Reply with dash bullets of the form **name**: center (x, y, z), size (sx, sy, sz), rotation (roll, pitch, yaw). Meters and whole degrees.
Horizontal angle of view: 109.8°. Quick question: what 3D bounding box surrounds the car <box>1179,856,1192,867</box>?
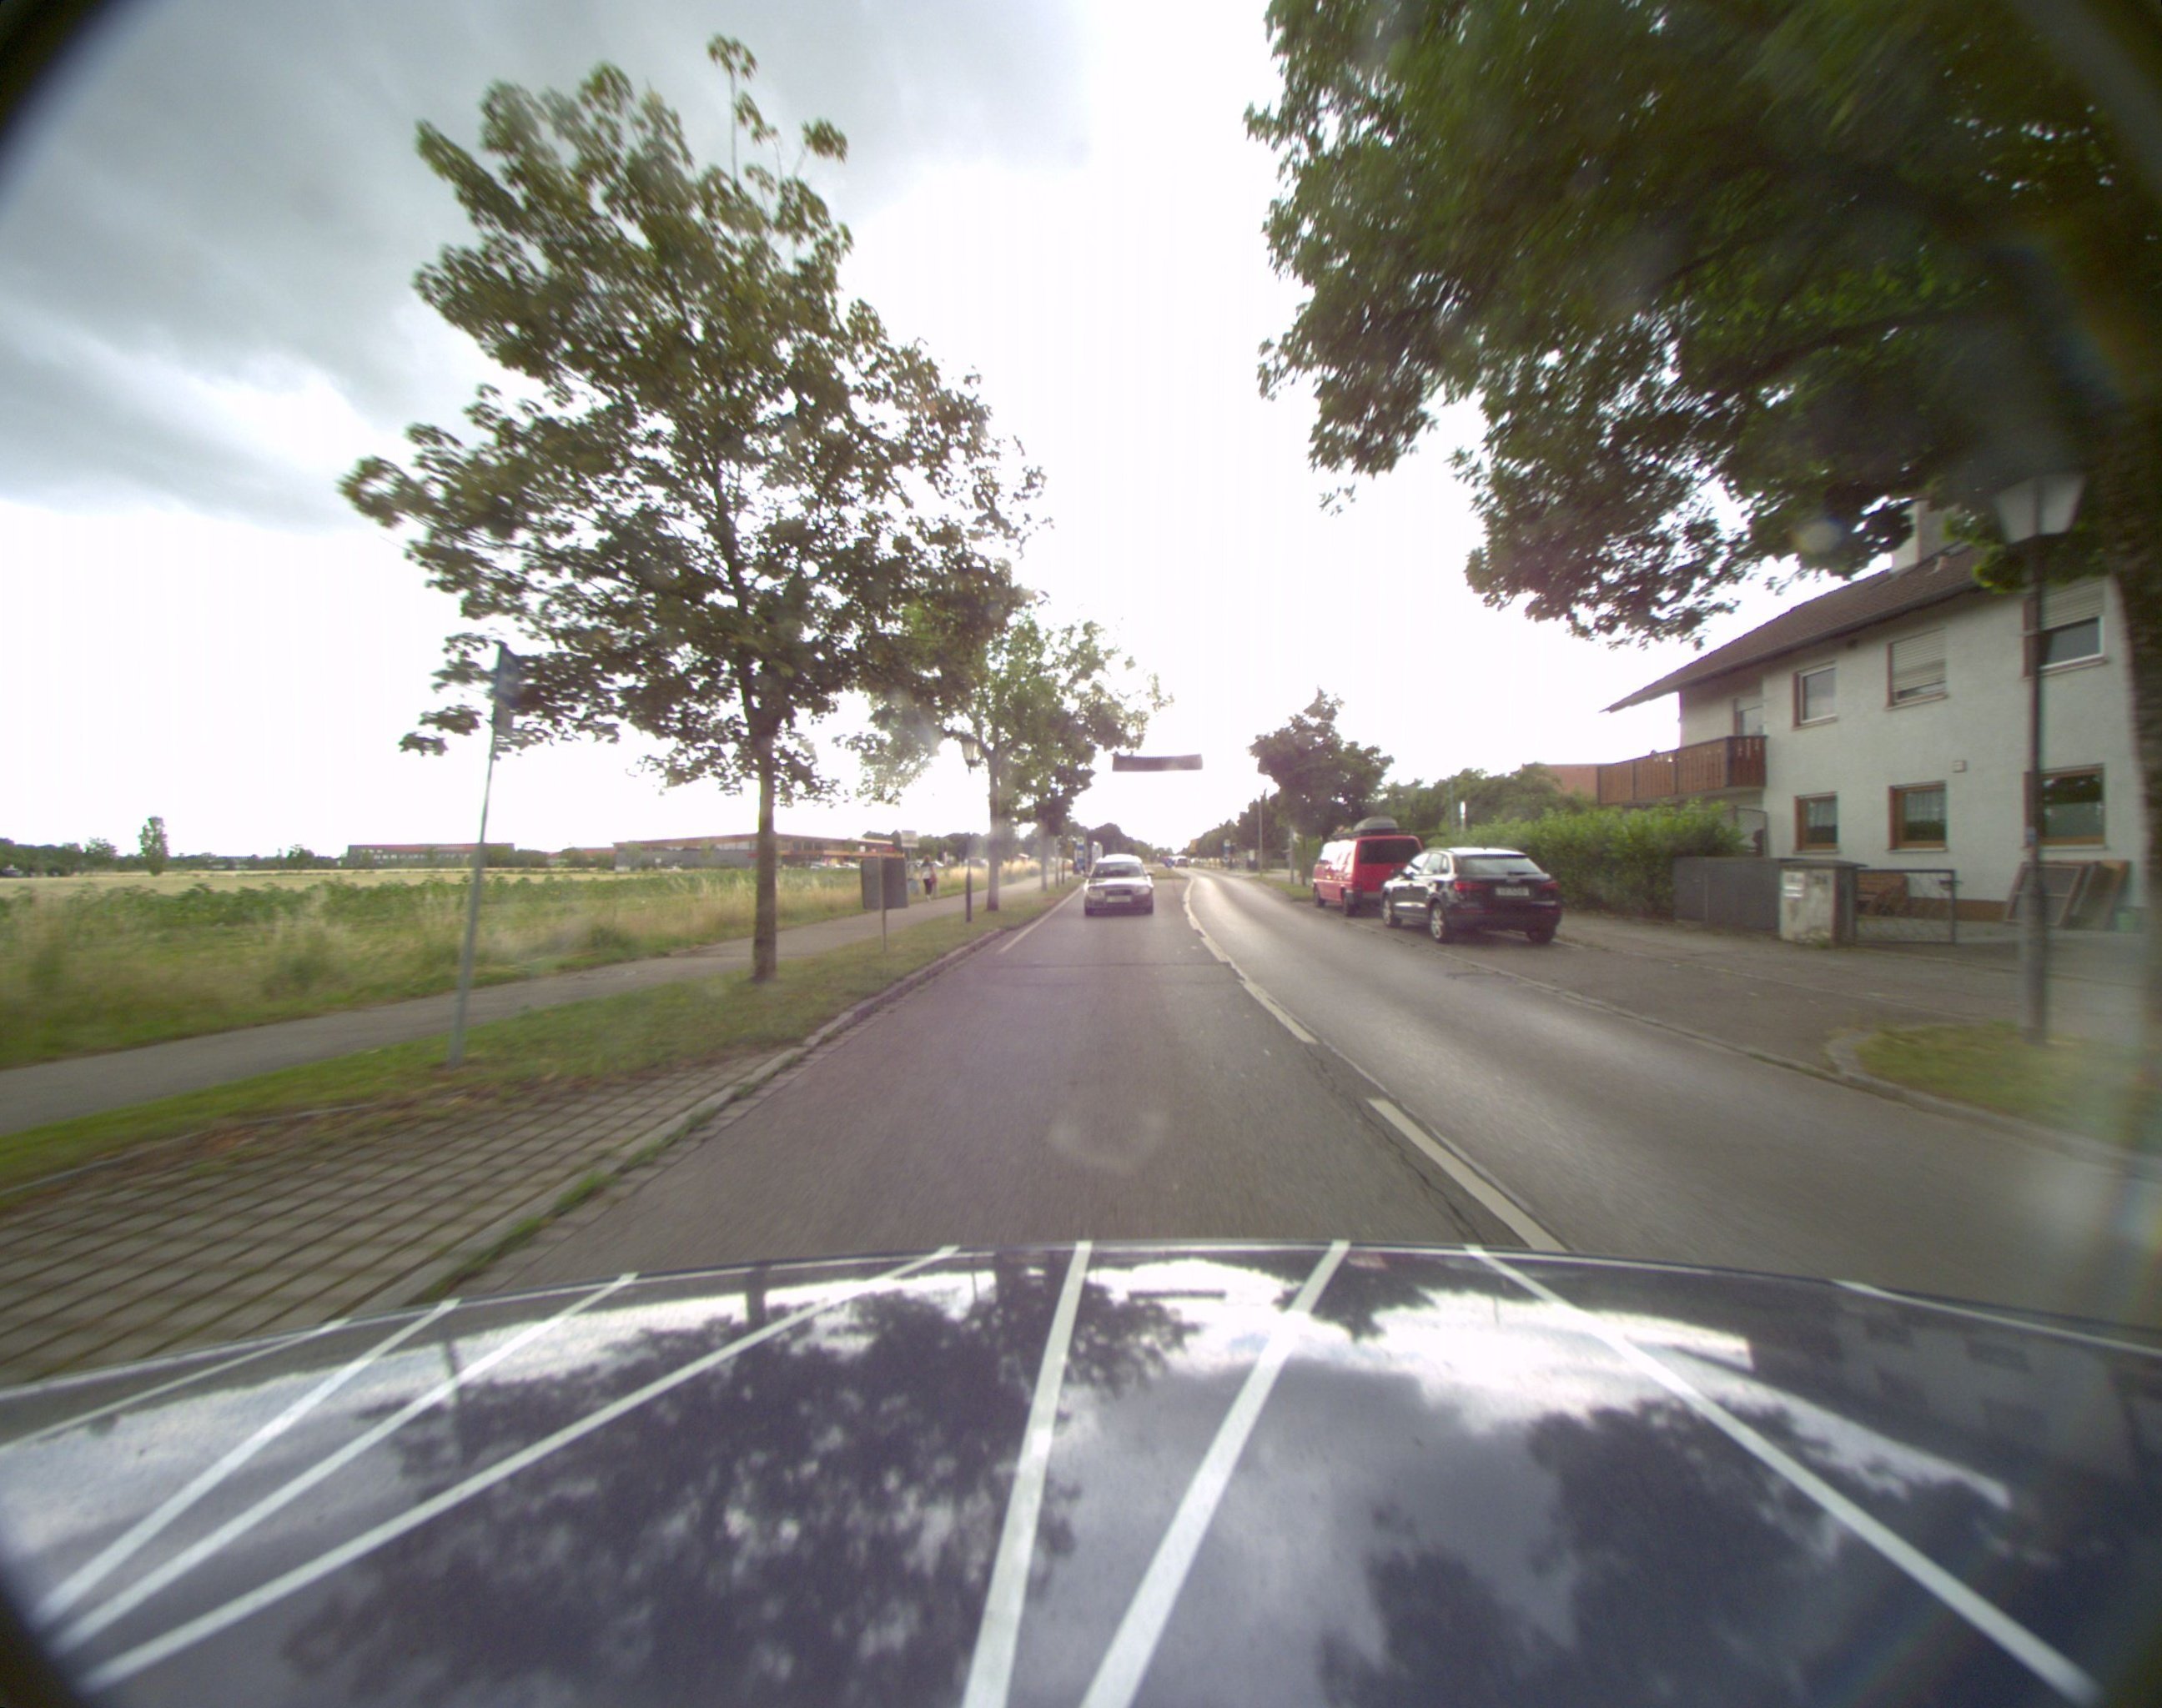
- **car**: center (14.816, 0.999, 108.214), size (1.710, 1.523, 3.509), rotation (1, 0, 7)

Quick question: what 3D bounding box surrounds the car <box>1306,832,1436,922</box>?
- **car**: center (7.302, 0.541, 19.719), size (1.834, 2.018, 5.048), rotation (-1, 0, 5)

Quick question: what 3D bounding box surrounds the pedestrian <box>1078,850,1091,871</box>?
- **pedestrian**: center (0.301, 0.555, 65.480), size (0.781, 1.782, 0.780), rotation (-3, 1, 26)

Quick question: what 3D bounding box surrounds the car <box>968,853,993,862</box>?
- **car**: center (-23.186, 0.810, 175.122), size (5.525, 2.002, 1.999), rotation (-2, 1, -2)

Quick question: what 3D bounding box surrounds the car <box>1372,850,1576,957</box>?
- **car**: center (6.836, 0.778, 13.773), size (1.775, 1.588, 4.240), rotation (-2, 0, 5)

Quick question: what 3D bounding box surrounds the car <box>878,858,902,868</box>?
- **car**: center (-42.569, 1.934, 169.325), size (4.856, 2.002, 1.999), rotation (-2, 1, -3)

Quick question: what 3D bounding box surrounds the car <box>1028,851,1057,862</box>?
- **car**: center (-7.536, 0.501, 150.007), size (5.525, 2.002, 1.999), rotation (-2, 1, -2)

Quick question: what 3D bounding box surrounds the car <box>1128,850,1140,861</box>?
- **car**: center (9.486, 0.295, 136.777), size (1.998, 2.002, 4.000), rotation (0, 0, 2)

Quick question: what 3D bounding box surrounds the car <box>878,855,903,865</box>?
- **car**: center (-40.857, 1.287, 162.928), size (4.856, 2.002, 1.999), rotation (-2, 1, -3)

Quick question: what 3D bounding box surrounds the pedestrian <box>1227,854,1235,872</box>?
- **pedestrian**: center (13.717, 0.808, 69.584), size (0.589, 1.626, 0.813), rotation (-1, 0, 4)

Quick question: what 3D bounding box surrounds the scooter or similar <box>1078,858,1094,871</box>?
- **scooter or similar**: center (0.391, 0.847, 62.291), size (0.707, 1.056, 1.062), rotation (-2, 1, 41)

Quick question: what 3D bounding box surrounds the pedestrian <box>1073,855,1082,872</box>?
- **pedestrian**: center (-0.281, 0.760, 61.769), size (0.666, 1.295, 0.505), rotation (-3, 1, 5)

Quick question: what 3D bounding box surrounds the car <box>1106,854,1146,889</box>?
- **car**: center (2.247, 0.789, 37.024), size (1.762, 1.495, 4.692), rotation (-3, 0, 4)

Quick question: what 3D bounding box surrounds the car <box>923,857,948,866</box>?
- **car**: center (-34.712, 1.777, 180.808), size (5.525, 2.002, 1.999), rotation (-2, 1, -2)

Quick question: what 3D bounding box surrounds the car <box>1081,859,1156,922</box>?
- **car**: center (1.074, 0.903, 20.678), size (1.762, 1.410, 4.521), rotation (-3, 0, 4)

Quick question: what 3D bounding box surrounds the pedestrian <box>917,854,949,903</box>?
- **pedestrian**: center (-5.374, 0.875, 27.646), size (0.839, 1.744, 0.870), rotation (-1, 1, 9)
